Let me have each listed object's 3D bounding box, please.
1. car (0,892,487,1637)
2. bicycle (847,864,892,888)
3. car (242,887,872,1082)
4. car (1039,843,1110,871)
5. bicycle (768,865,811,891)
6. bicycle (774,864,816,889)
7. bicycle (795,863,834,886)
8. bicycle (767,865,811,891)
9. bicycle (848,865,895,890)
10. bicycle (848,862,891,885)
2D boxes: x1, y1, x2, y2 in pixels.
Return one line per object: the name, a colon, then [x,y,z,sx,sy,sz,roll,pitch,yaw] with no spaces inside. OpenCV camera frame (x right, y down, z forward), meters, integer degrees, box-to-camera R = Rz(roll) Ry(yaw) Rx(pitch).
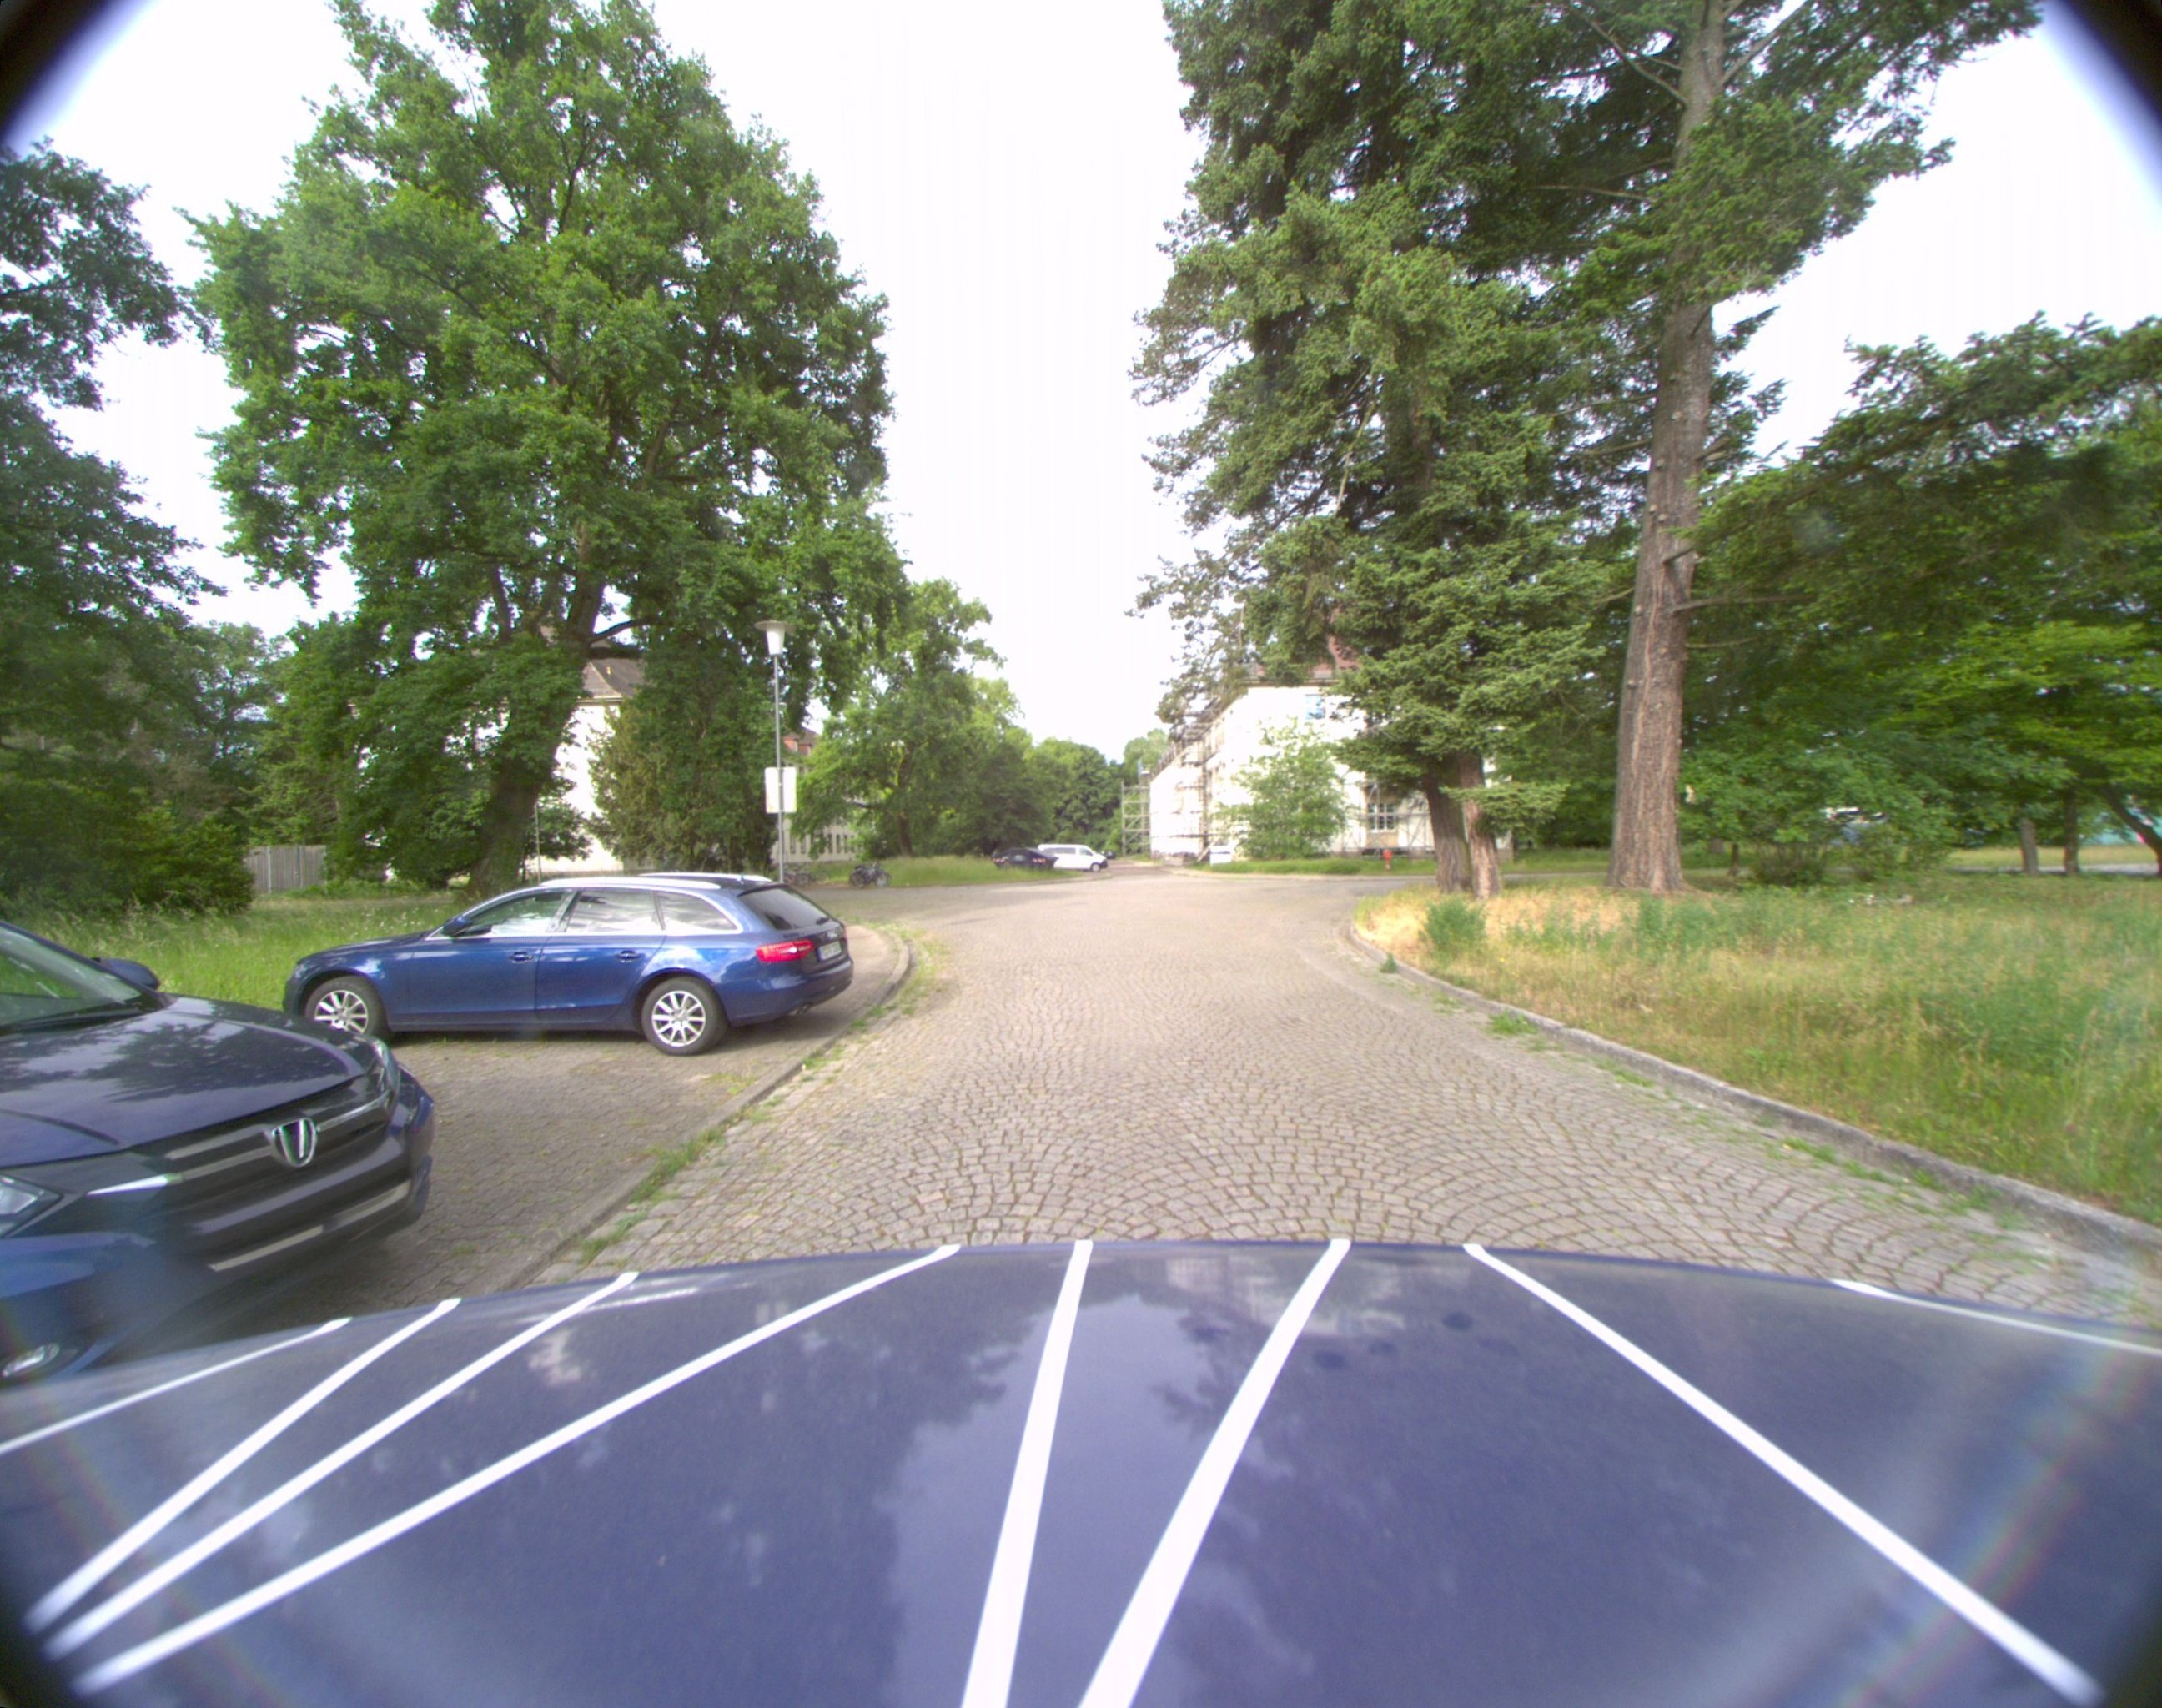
car: [-4.515,1.000,2.150,4.173,1.563,1.792,-1,2,0]
bicycle: [-10.274,1.045,36.944,1.976,1.070,0.587,-3,1,-28]
car: [-4.392,1.055,6.850,4.480,1.413,1.785,0,1,3]
car: [-0.470,0.200,55.718,5.101,2.007,2.054,0,1,-1]
bicycle: [-13.864,1.116,36.173,1.860,1.116,0.620,-2,1,-23]
bicycle: [-14.234,1.107,37.829,1.860,1.116,0.620,-2,1,-23]
bicycle: [-14.044,1.057,40.049,1.860,1.116,0.620,-2,1,-23]
bicycle: [-13.658,1.116,35.564,1.860,1.116,0.620,-2,1,-23]
bicycle: [-9.747,1.081,35.368,1.976,1.070,0.587,-3,1,-28]
bicycle: [-10.866,0.990,39.044,2.032,1.070,0.620,-2,1,-23]
